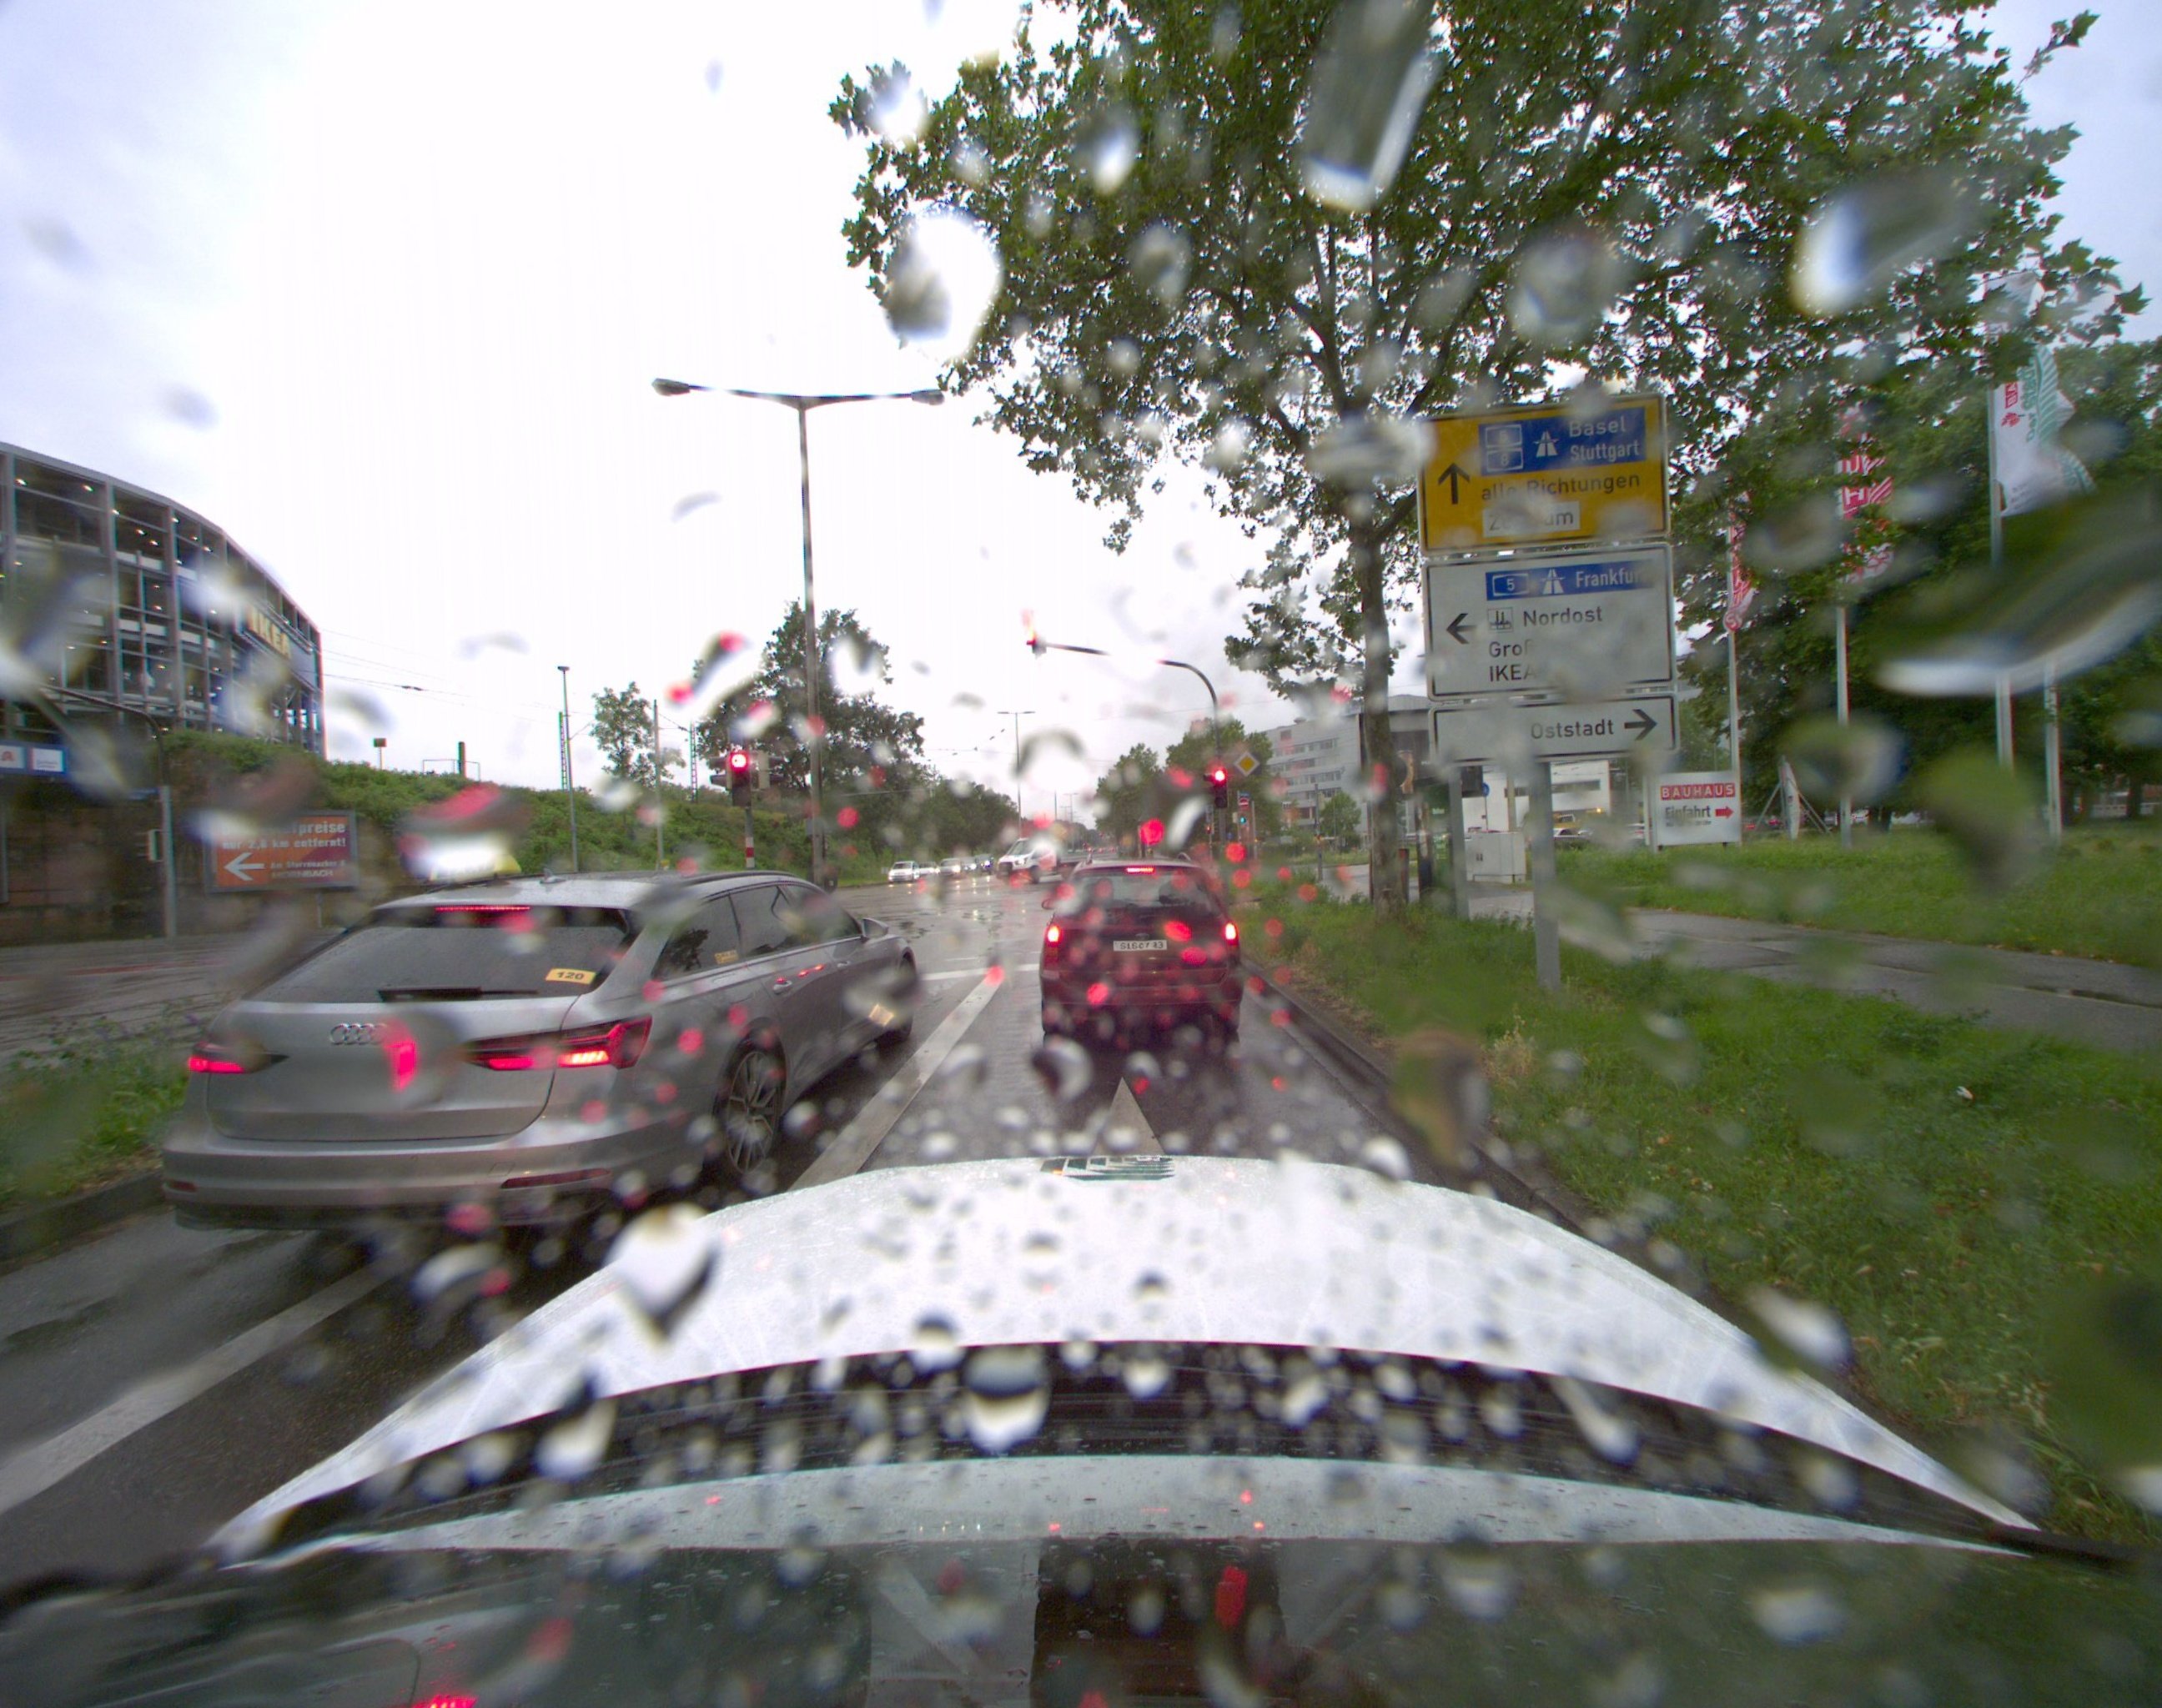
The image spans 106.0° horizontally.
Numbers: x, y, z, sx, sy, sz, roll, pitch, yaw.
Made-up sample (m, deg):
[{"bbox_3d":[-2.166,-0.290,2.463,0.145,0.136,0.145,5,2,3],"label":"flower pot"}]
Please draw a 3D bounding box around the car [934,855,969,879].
[{"bbox_3d":[-8.946,0.870,56.522,1.632,1.473,3.966,-3,0,1],"label":"car"}]

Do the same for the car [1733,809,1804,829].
[{"bbox_3d":[67.154,-3.416,79.627,1.886,1.655,5.012,0,-1,-29],"label":"car"}]

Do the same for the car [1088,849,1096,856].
[{"bbox_3d":[2.711,-0.434,202.421,1.691,1.528,3.849,-3,0,3],"label":"car"}]

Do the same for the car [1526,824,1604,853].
[{"bbox_3d":[28.214,-0.904,47.439,4.847,1.491,1.908,-2,-1,-32],"label":"car"}]

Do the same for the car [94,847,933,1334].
[{"bbox_3d":[-2.287,0.758,5.062,1.763,1.574,4.822,0,0,1],"label":"car"}]

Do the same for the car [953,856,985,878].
[{"bbox_3d":[-8.740,0.992,63.803,1.756,1.586,4.813,-3,-1,0],"label":"car"}]

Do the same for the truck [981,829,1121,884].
[{"bbox_3d":[-1.340,0.069,39.672,6.908,2.365,2.451,-3,0,-45],"label":"truck"}]

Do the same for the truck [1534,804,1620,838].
[{"bbox_3d":[57.975,-3.814,95.375,3.342,3.507,7.806,-3,0,-33],"label":"truck"}]

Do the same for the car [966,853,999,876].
[{"bbox_3d":[-8.626,0.911,71.773,2.058,1.819,5.542,-3,0,1],"label":"car"}]

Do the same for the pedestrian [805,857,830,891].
[{"bbox_3d":[-14.950,1.101,46.201,1.102,1.847,1.126,-3,0,-10],"label":"pedestrian"}]

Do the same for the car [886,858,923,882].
[{"bbox_3d":[-11.976,1.060,55.548,1.633,1.452,3.786,-3,0,0],"label":"car"}]

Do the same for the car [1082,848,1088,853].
[{"bbox_3d":[1.178,-0.987,245.101,1.691,1.528,3.849,-3,0,3],"label":"car"}]

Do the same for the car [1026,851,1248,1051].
[{"bbox_3d":[0.447,0.711,7.910,1.636,1.465,3.733,0,0,1],"label":"car"}]

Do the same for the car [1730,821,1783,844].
[{"bbox_3d":[52.823,-1.690,63.646,4.645,1.586,1.907,-2,-1,-34],"label":"car"}]

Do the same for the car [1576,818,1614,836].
[{"bbox_3d":[53.726,-2.830,85.089,4.259,1.726,1.724,-1,0,-32],"label":"car"}]

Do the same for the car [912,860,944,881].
[{"bbox_3d":[-11.573,1.219,61.869,1.585,1.404,3.823,-3,0,1],"label":"car"}]

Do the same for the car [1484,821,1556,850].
[{"bbox_3d":[23.563,-0.995,43.669,3.829,1.491,1.662,-2,0,-31],"label":"car"}]

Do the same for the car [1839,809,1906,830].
[{"bbox_3d":[70.798,-3.095,72.878,4.611,1.586,1.921,-2,-1,-10],"label":"car"}]

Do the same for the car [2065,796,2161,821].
[{"bbox_3d":[88.541,-3.886,69.301,2.286,1.731,5.899,-3,0,-33],"label":"car"}]

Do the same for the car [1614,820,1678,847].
[{"bbox_3d":[37.343,-1.355,53.796,4.644,1.586,1.907,-2,0,-34],"label":"car"}]

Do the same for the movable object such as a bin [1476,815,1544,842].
[{"bbox_3d":[53.777,-3.163,102.158,3.342,2.995,6.650,-3,0,-34],"label":"movable object such as a bin"}]
